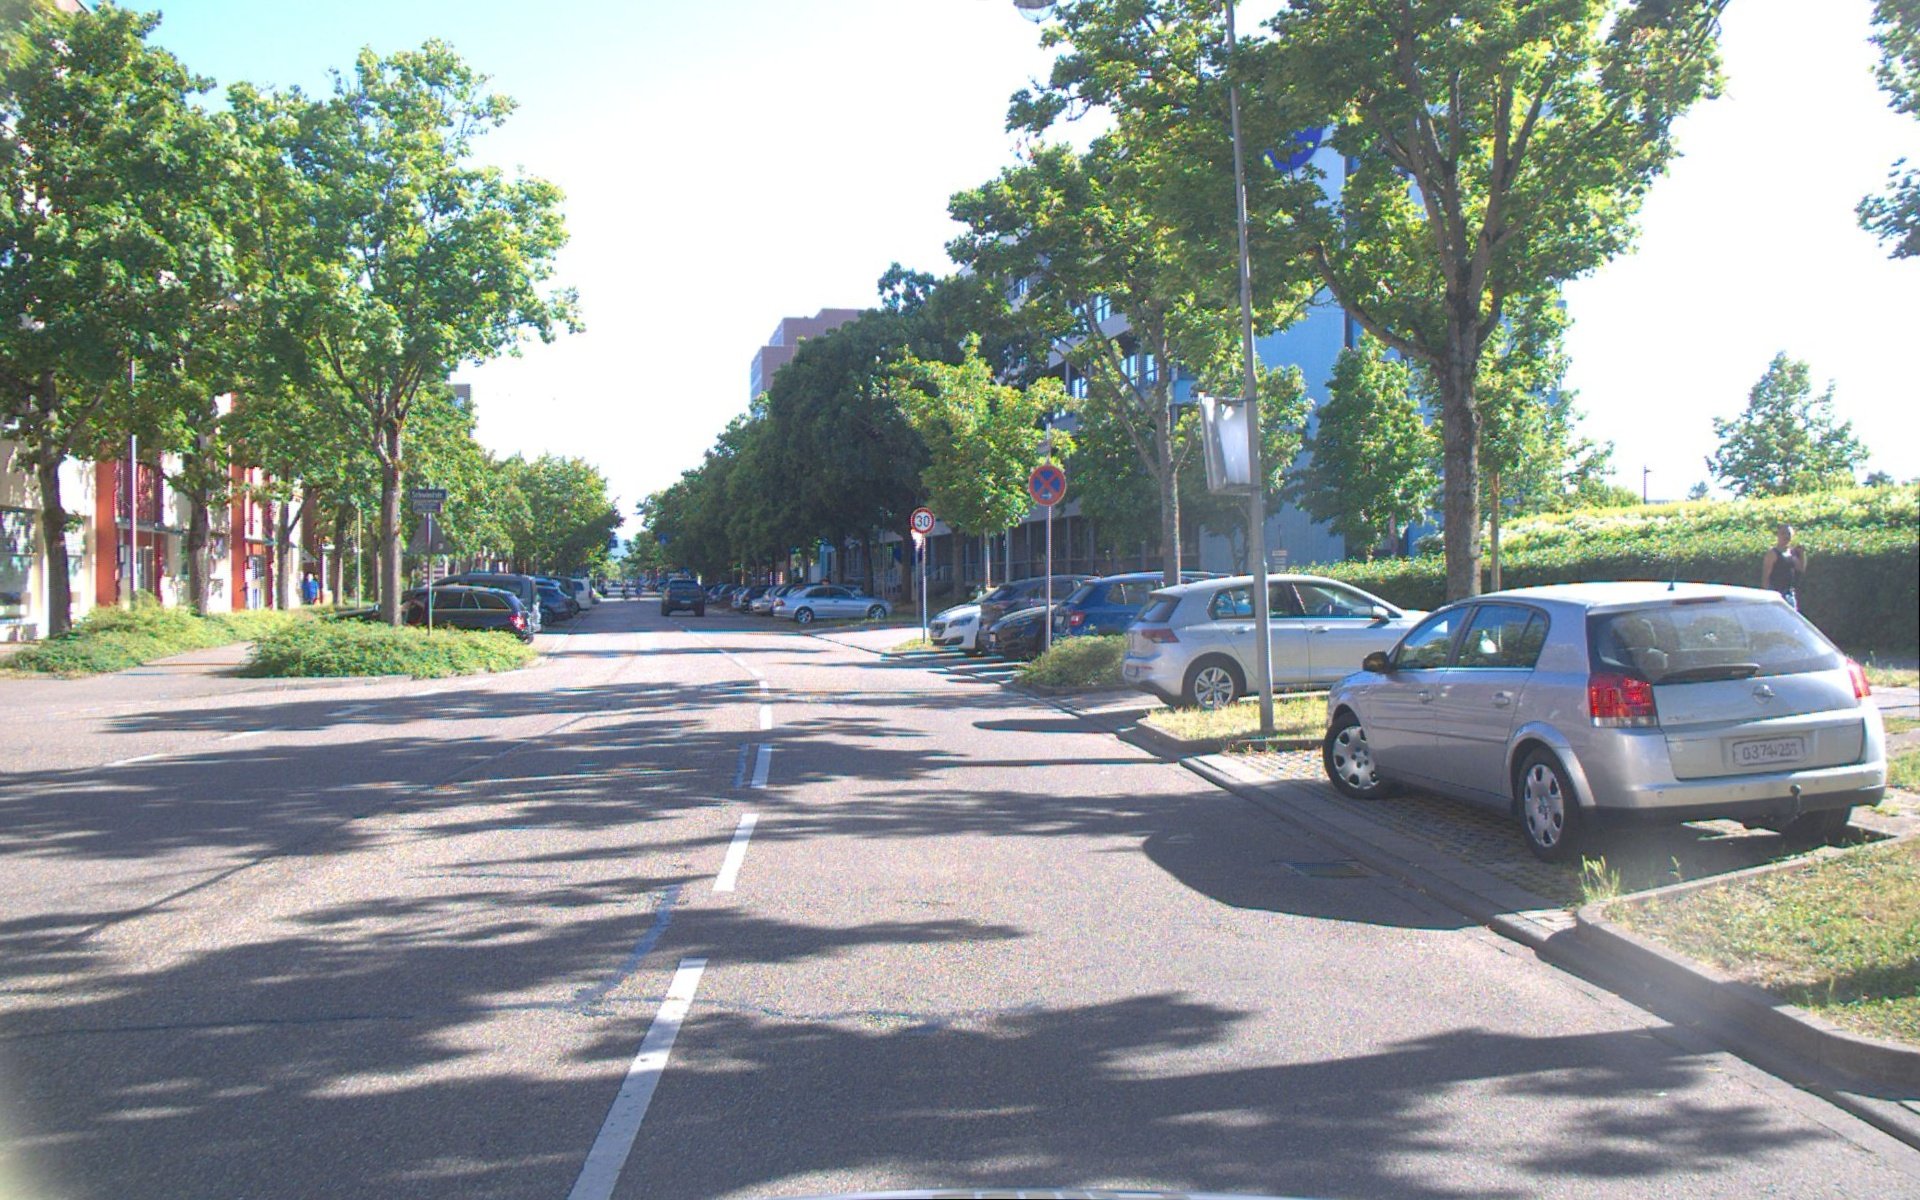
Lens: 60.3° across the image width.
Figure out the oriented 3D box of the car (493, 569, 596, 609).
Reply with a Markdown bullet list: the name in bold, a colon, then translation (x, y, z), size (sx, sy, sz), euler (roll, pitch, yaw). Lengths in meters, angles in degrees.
- **car**: translation (-22.003, -0.559, 87.826), size (5.166, 2.001, 1.937), euler (1, 0, -12)

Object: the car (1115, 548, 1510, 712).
- **car**: translation (3.934, 0.312, 18.801), size (4.011, 1.454, 1.641), euler (-5, 1, -5)

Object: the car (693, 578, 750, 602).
- **car**: translation (-19.077, -0.771, 132.017), size (4.279, 1.733, 1.805), euler (-2, 1, -15)

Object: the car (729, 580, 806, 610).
- **car**: translation (-10.301, -0.295, 88.384), size (3.903, 1.444, 1.704), euler (-2, 1, -14)

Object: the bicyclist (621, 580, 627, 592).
- **bicyclist**: translation (-30.973, -1.330, 152.564), size (0.522, 1.110, 0.793), euler (-1, 1, -9)

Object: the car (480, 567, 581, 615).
- **car**: translation (-20.202, -0.414, 78.033), size (4.406, 2.126, 2.078), euler (1, 0, -10)

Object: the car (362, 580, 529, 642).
- **car**: translation (-12.907, 0.270, 41.699), size (3.823, 1.448, 1.734), euler (1, 0, -12)

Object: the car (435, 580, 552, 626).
- **car**: translation (-15.751, 0.094, 56.025), size (3.662, 1.452, 1.835), euler (1, 0, -13)

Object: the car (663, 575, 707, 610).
- **car**: translation (-13.692, -0.373, 82.329), size (1.958, 1.668, 3.988), euler (1, 0, -12)

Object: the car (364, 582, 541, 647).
- **car**: translation (-11.932, 0.340, 39.126), size (3.823, 1.448, 1.734), euler (1, 0, -12)

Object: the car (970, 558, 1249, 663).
- **car**: translation (2.612, 0.165, 29.412), size (4.470, 1.541, 2.152), euler (-3, 0, -12)

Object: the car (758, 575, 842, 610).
- **car**: translation (-7.603, -0.356, 78.523), size (3.683, 1.519, 1.610), euler (-2, 1, -16)

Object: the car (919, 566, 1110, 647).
- **car**: translation (1.198, 0.134, 36.989), size (3.887, 1.541, 1.693), euler (-3, 0, -18)

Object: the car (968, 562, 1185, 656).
- **car**: translation (2.220, 0.159, 31.931), size (3.807, 1.541, 1.746), euler (-3, 0, -12)

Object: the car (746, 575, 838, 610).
- **car**: translation (-8.211, -0.361, 80.845), size (4.214, 1.519, 1.996), euler (-2, 1, -15)

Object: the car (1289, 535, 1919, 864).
- **car**: translation (3.775, 0.462, 10.503), size (1.776, 1.519, 4.614), euler (-3, 1, -9)

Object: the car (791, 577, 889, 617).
- **car**: translation (-4.870, -0.134, 66.795), size (3.766, 1.472, 1.918), euler (-2, 1, -9)

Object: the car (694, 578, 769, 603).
- **car**: translation (-15.163, -0.634, 109.731), size (4.744, 1.444, 2.025), euler (-2, 1, -14)

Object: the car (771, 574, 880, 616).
- **car**: translation (-5.642, -0.227, 69.141), size (4.431, 1.569, 1.918), euler (-2, 1, -9)

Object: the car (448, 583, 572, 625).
- **car**: translation (-16.577, 0.130, 61.052), size (4.328, 1.452, 1.766), euler (1, 0, -14)

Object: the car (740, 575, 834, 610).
- **car**: translation (-8.719, -0.395, 83.412), size (4.511, 1.519, 1.758), euler (-3, 1, -12)

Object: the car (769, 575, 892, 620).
- **car**: translation (-5.004, -0.103, 63.796), size (4.497, 1.501, 1.742), euler (-3, 1, -12)

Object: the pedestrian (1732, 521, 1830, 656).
- **pedestrian**: translation (9.829, -0.141, 19.828), size (0.595, 1.569, 0.935), euler (-1, 0, -10)

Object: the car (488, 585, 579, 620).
- **car**: translation (-18.281, 0.105, 70.809), size (3.668, 1.452, 1.716), euler (1, 0, -18)

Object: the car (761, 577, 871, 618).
- **car**: translation (-6.272, -0.116, 71.967), size (4.443, 1.569, 1.913), euler (-2, 1, -16)

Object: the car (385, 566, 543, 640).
- **car**: translation (-13.108, 0.076, 43.915), size (3.823, 1.843, 1.780), euler (1, 0, -12)

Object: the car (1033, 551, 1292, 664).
- **car**: translation (3.241, 0.109, 26.787), size (3.737, 1.473, 1.740), euler (-5, 1, -10)

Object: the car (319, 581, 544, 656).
- **car**: translation (-10.932, 0.373, 34.473), size (4.183, 1.448, 1.736), euler (1, 0, -9)

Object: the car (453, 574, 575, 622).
- **car**: translation (-17.125, -0.071, 63.632), size (4.239, 1.747, 1.959), euler (1, 0, -7)

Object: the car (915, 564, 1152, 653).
- **car**: translation (1.507, 0.167, 34.393), size (4.480, 1.541, 1.972), euler (-3, 0, -18)

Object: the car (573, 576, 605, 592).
- **car**: translation (-47.628, -2.053, 212.349), size (3.912, 2.049, 1.996), euler (-1, 1, -8)

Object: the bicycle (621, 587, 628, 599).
- **bicycle**: translation (-30.971, -0.681, 152.588), size (0.522, 1.091, 1.297), euler (-1, 1, -9)
